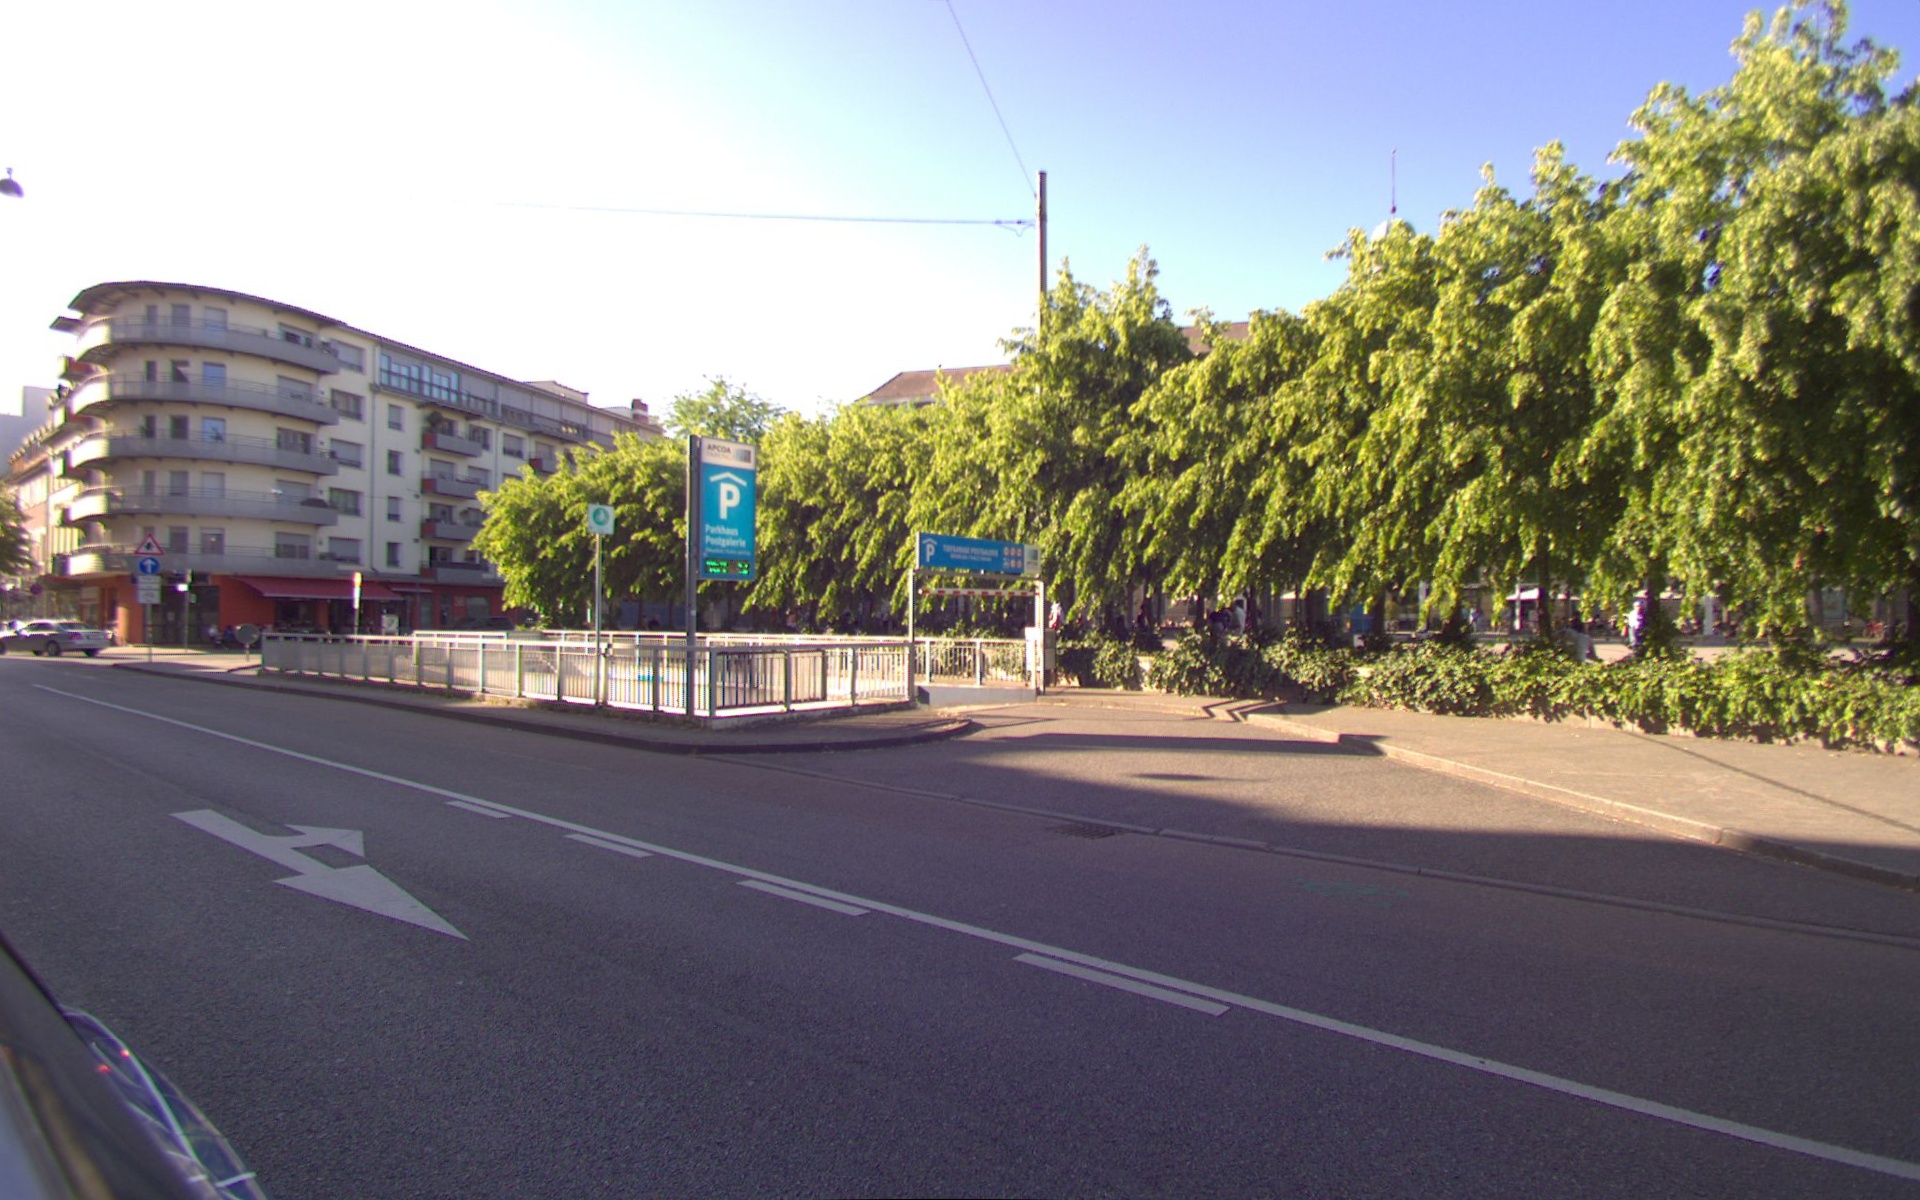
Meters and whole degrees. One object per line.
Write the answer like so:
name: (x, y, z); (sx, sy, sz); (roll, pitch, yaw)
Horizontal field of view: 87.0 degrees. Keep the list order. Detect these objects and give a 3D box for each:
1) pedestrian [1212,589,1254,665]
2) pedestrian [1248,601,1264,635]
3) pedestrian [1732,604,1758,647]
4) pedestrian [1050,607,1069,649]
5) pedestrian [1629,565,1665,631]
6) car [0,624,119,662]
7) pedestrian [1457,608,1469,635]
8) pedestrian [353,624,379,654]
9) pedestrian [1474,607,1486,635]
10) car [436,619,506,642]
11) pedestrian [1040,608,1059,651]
pedestrian: (6.093, 0.582, 22.598); (0.645, 1.661, 0.626); (-1, 0, -35)
pedestrian: (14.973, 0.904, 51.156); (0.606, 1.734, 0.640); (-1, 0, 31)
pedestrian: (31.686, 1.028, 40.859); (0.641, 1.734, 0.605); (-1, 0, 18)
pedestrian: (4.169, 1.181, 42.357); (0.604, 1.734, 0.642); (-1, 0, 21)
pedestrian: (18.383, -0.046, 27.088); (0.643, 1.734, 0.604); (-1, 0, 22)
car: (-36.319, 1.697, 40.447); (4.217, 1.363, 1.819); (1, -2, 10)
pedestrian: (31.624, 1.351, 63.663); (0.643, 1.734, 0.603); (-1, 0, 26)
pedestrian: (-32.657, 2.163, 55.655); (0.877, 1.607, 0.861); (-1, 0, 2)
pedestrian: (32.076, 1.302, 62.449); (0.643, 1.734, 0.603); (-1, 0, 26)
car: (-30.491, 1.880, 63.203); (1.742, 1.311, 3.977); (-1, -1, 17)
pedestrian: (3.698, 1.206, 41.804); (0.604, 1.734, 0.642); (-1, 0, 21)
